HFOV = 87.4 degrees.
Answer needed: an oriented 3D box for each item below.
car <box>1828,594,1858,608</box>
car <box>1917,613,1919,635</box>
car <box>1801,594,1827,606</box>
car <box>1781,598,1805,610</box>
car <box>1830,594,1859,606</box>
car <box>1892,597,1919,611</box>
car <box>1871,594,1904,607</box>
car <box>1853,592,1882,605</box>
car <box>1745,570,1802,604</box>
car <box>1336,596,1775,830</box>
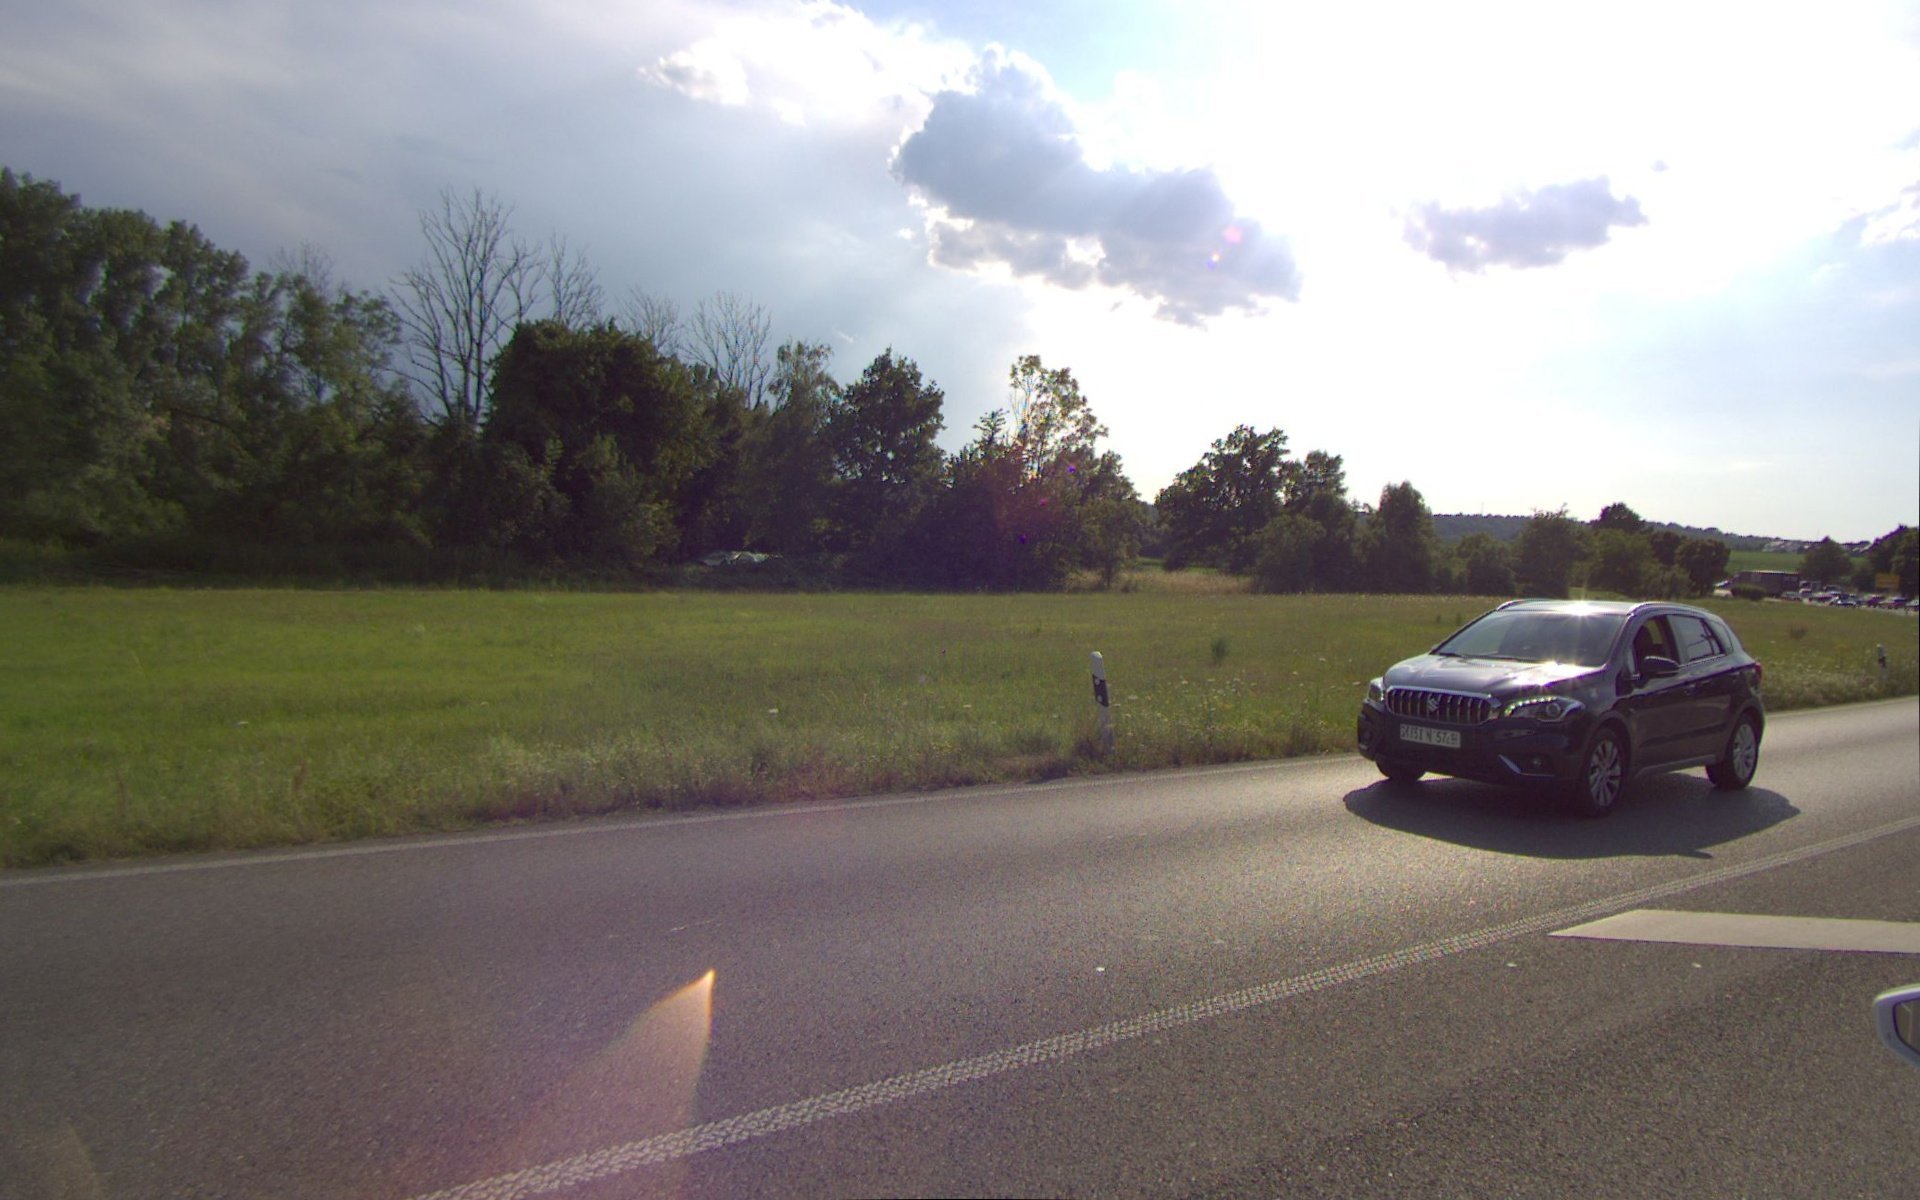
[{"bbox_3d":[109.547,0.164,124.698,1.853,1.621,3.994,3,2,28],"label":"car"},{"bbox_3d":[73.057,1.856,74.883,1.857,1.621,3.985,3,2,36],"label":"car"},{"bbox_3d":[125.779,-0.022,148.019,1.852,1.621,3.996,3,2,24],"label":"car"},{"bbox_3d":[117.857,0.553,142.155,1.853,1.621,3.993,3,2,28],"label":"car"},{"bbox_3d":[124.388,0.018,141.261,1.852,1.621,3.996,3,2,25],"label":"car"},{"bbox_3d":[114.817,0.481,121.268,2.052,1.621,3.997,3,2,24],"label":"car"},{"bbox_3d":[117.986,0.046,127.811,1.853,1.621,3.995,3,2,26],"label":"car"},{"bbox_3d":[120.698,-0.196,133.645,1.853,1.621,3.994,3,2,28],"label":"car"},{"bbox_3d":[132.975,-2.114,164.476,3.484,5.127,13.235,3,2,23],"label":"car"},{"bbox_3d":[5.211,0.781,8.618,4.110,1.573,1.684,1,0,-35],"label":"car"}]
